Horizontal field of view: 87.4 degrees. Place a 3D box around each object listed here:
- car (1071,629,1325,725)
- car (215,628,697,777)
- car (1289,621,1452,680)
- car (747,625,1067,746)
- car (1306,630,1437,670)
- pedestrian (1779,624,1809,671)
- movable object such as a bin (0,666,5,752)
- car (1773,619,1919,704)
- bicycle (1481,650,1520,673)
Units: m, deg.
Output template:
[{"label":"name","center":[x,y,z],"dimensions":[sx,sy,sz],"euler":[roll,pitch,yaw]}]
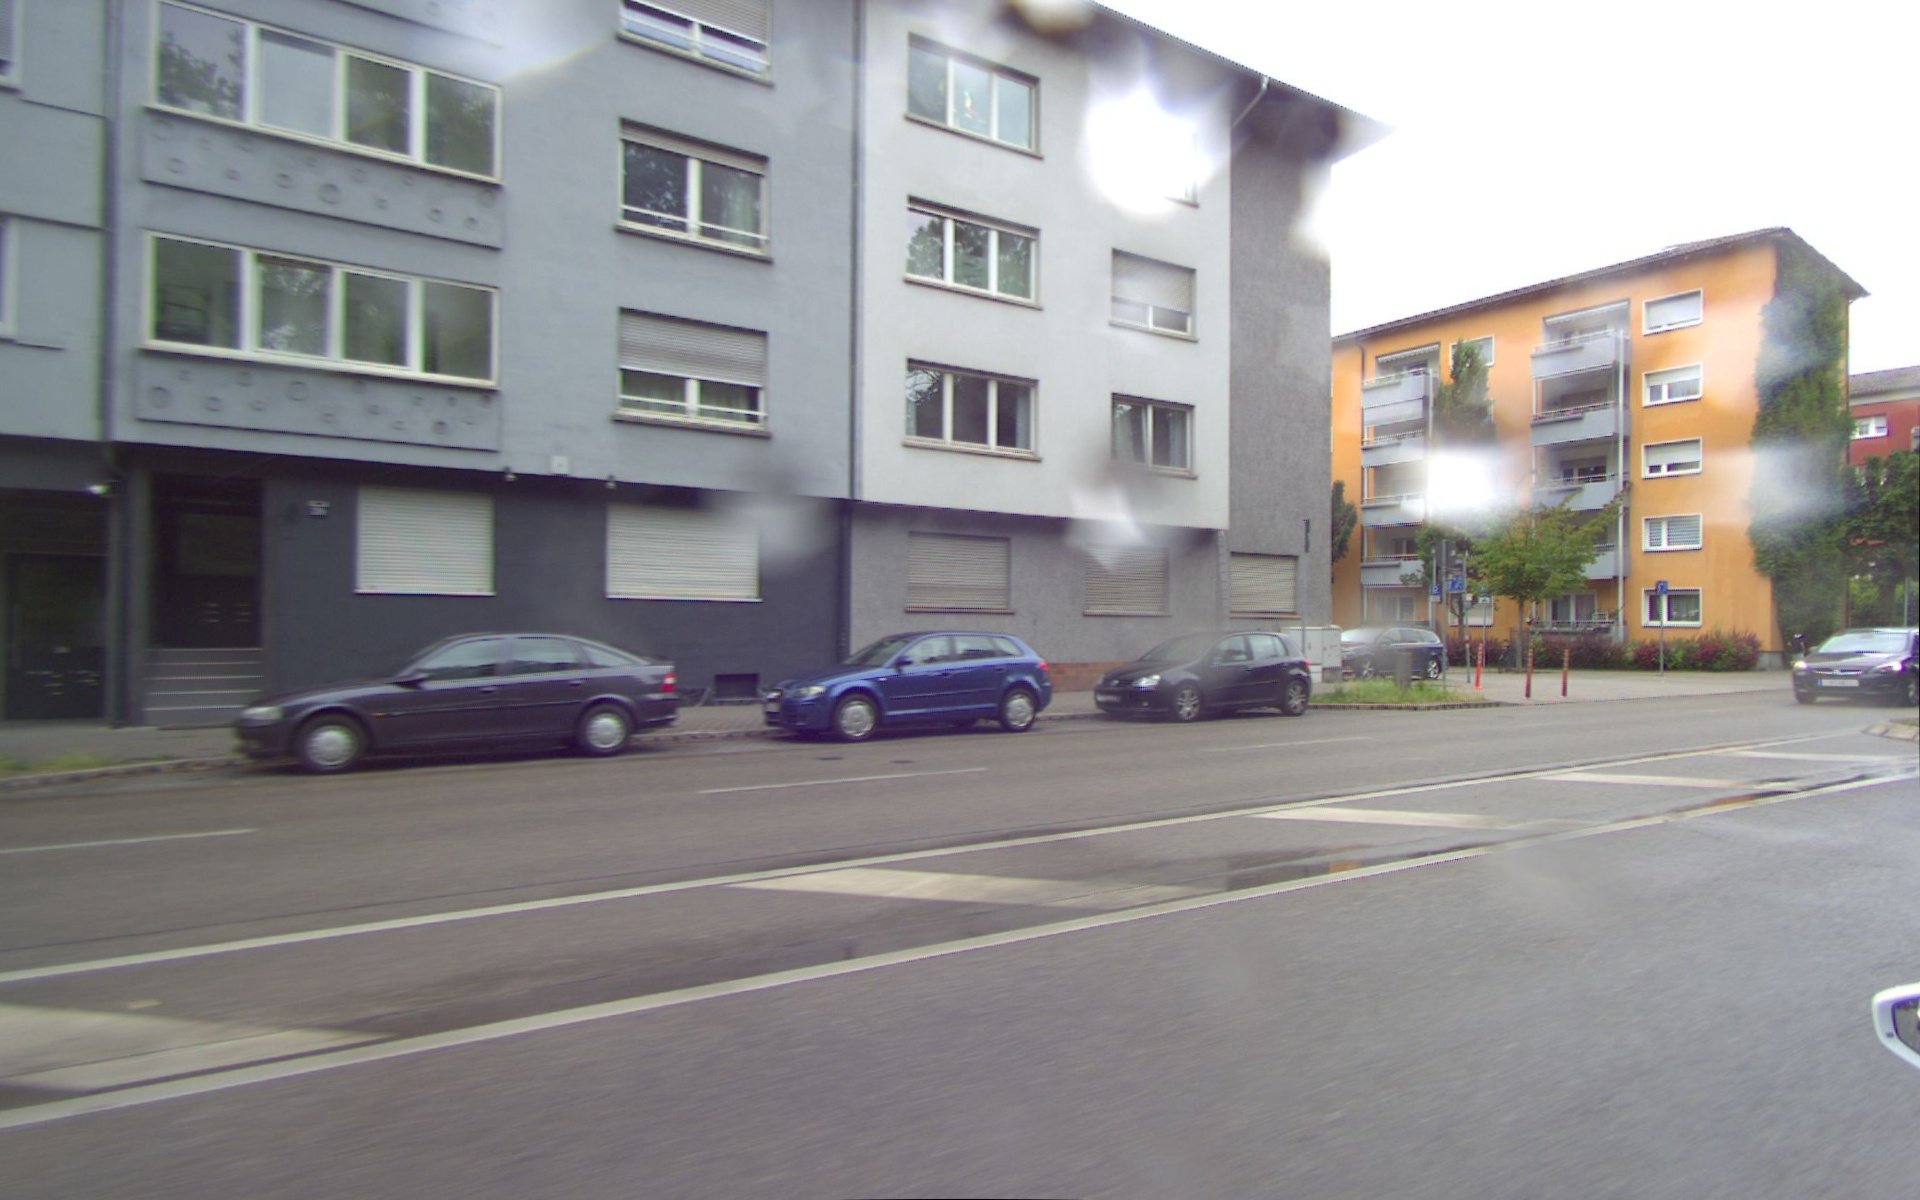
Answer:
[{"label":"car","center":[4.096,1.247,17.087],"dimensions":[4.274,1.444,1.704],"euler":[1,-3,-32]},{"label":"car","center":[-5.422,1.048,11.234],"dimensions":[4.530,1.375,1.679],"euler":[1,-4,-33]},{"label":"car","center":[10.889,1.321,26.574],"dimensions":[4.362,1.451,1.714],"euler":[1,-2,-31]},{"label":"car","center":[-0.687,1.139,14.106],"dimensions":[4.229,1.468,1.672],"euler":[1,-4,-32]},{"label":"car","center":[16.466,1.978,40.375],"dimensions":[1.862,1.524,4.600],"euler":[1,-3,-37]},{"label":"pedestrian","center":[28.899,1.638,34.823],"dimensions":[0.653,1.625,0.583],"euler":[1,-2,-30]},{"label":"movable object such as a bin","center":[-9.475,1.049,9.456],"dimensions":[0.603,0.828,0.466],"euler":[1,-2,-33]},{"label":"car","center":[18.234,1.171,20.040],"dimensions":[4.598,1.524,1.778],"euler":[1,-3,-33]},{"label":"bicycle","center":[18.671,2.114,34.670],"dimensions":[1.528,0.759,0.462],"euler":[1,-2,-30]}]
